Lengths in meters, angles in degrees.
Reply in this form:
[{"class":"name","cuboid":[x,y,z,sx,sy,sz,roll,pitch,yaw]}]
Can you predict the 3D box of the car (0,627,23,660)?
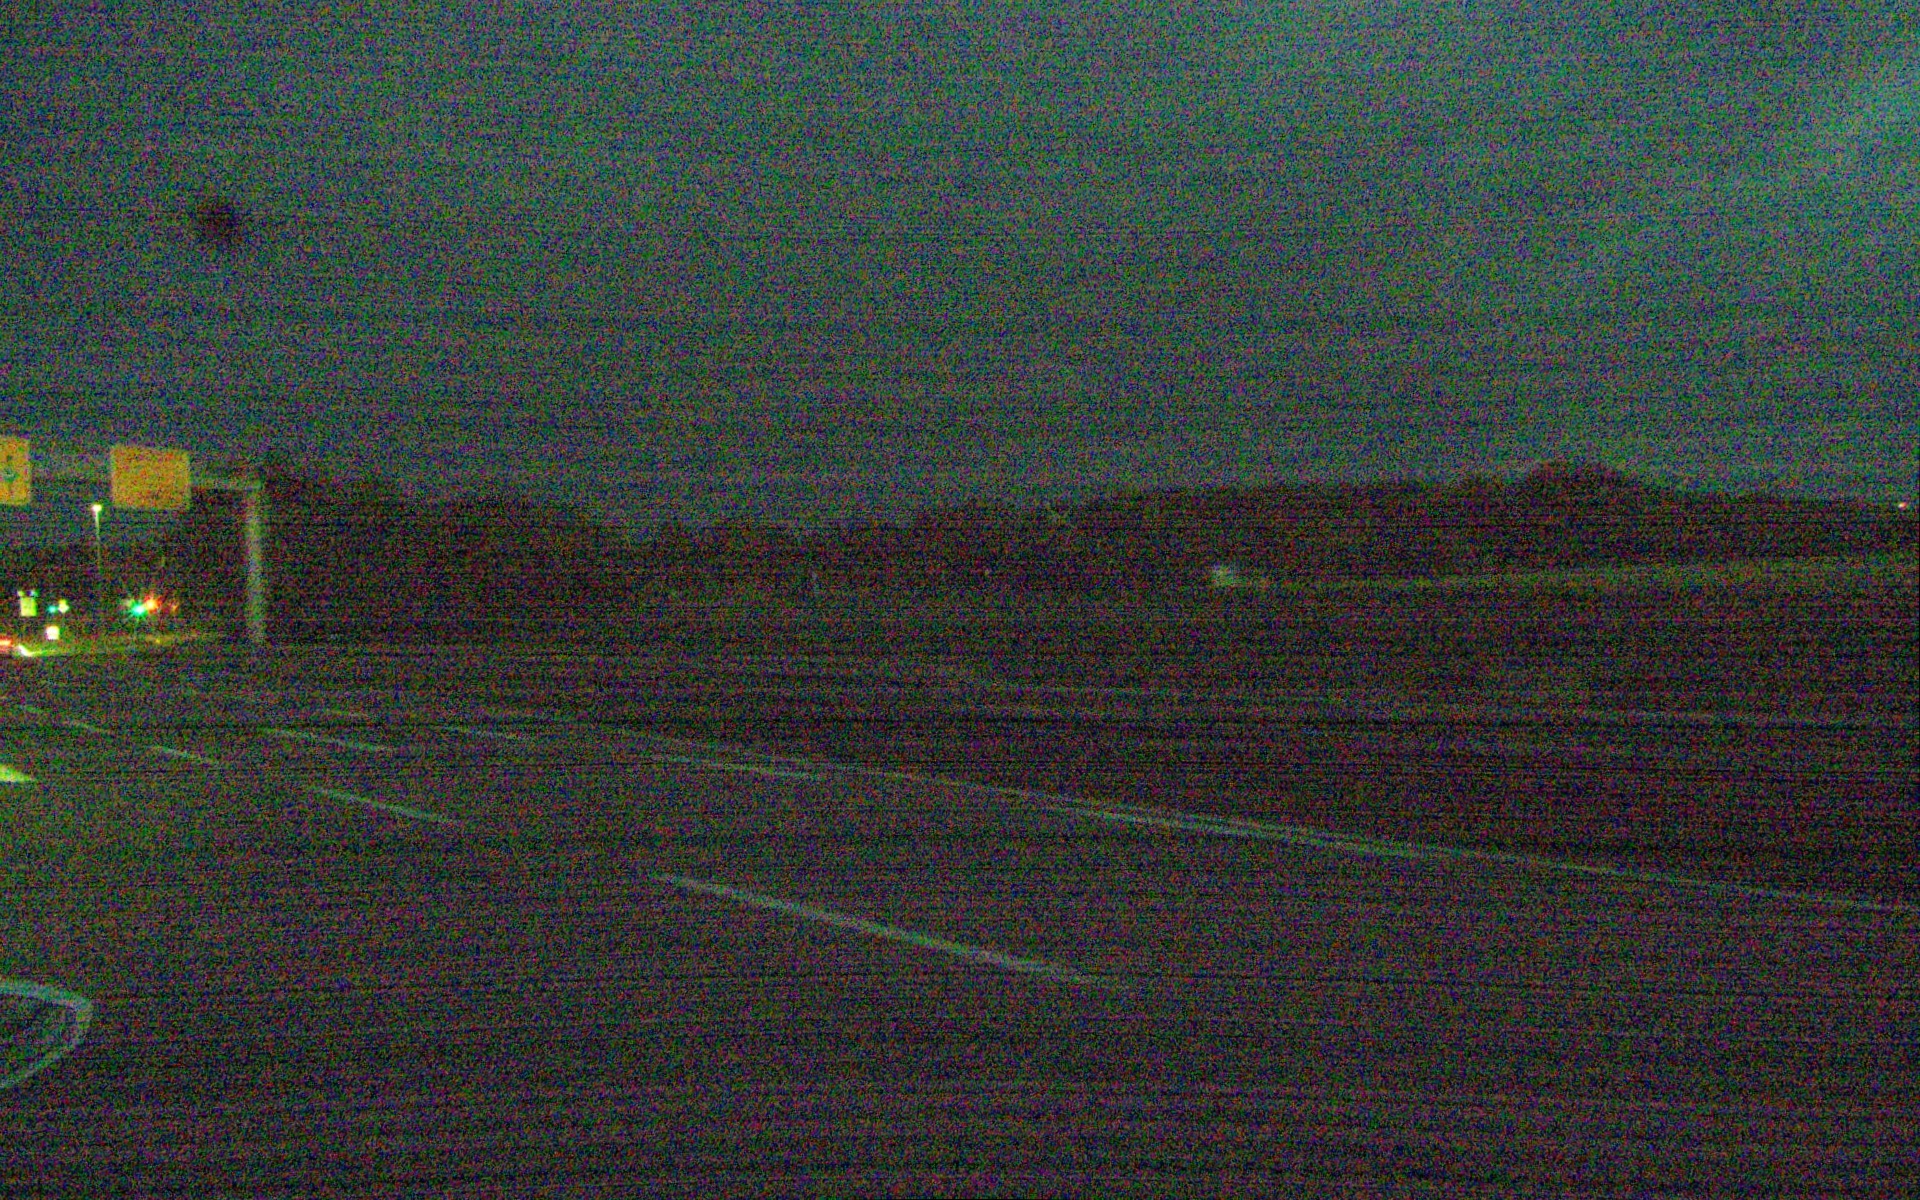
[{"class":"car","cuboid":[-49.227,2.183,51.013,1.995,1.630,3.810,5,-5,-42]}]
